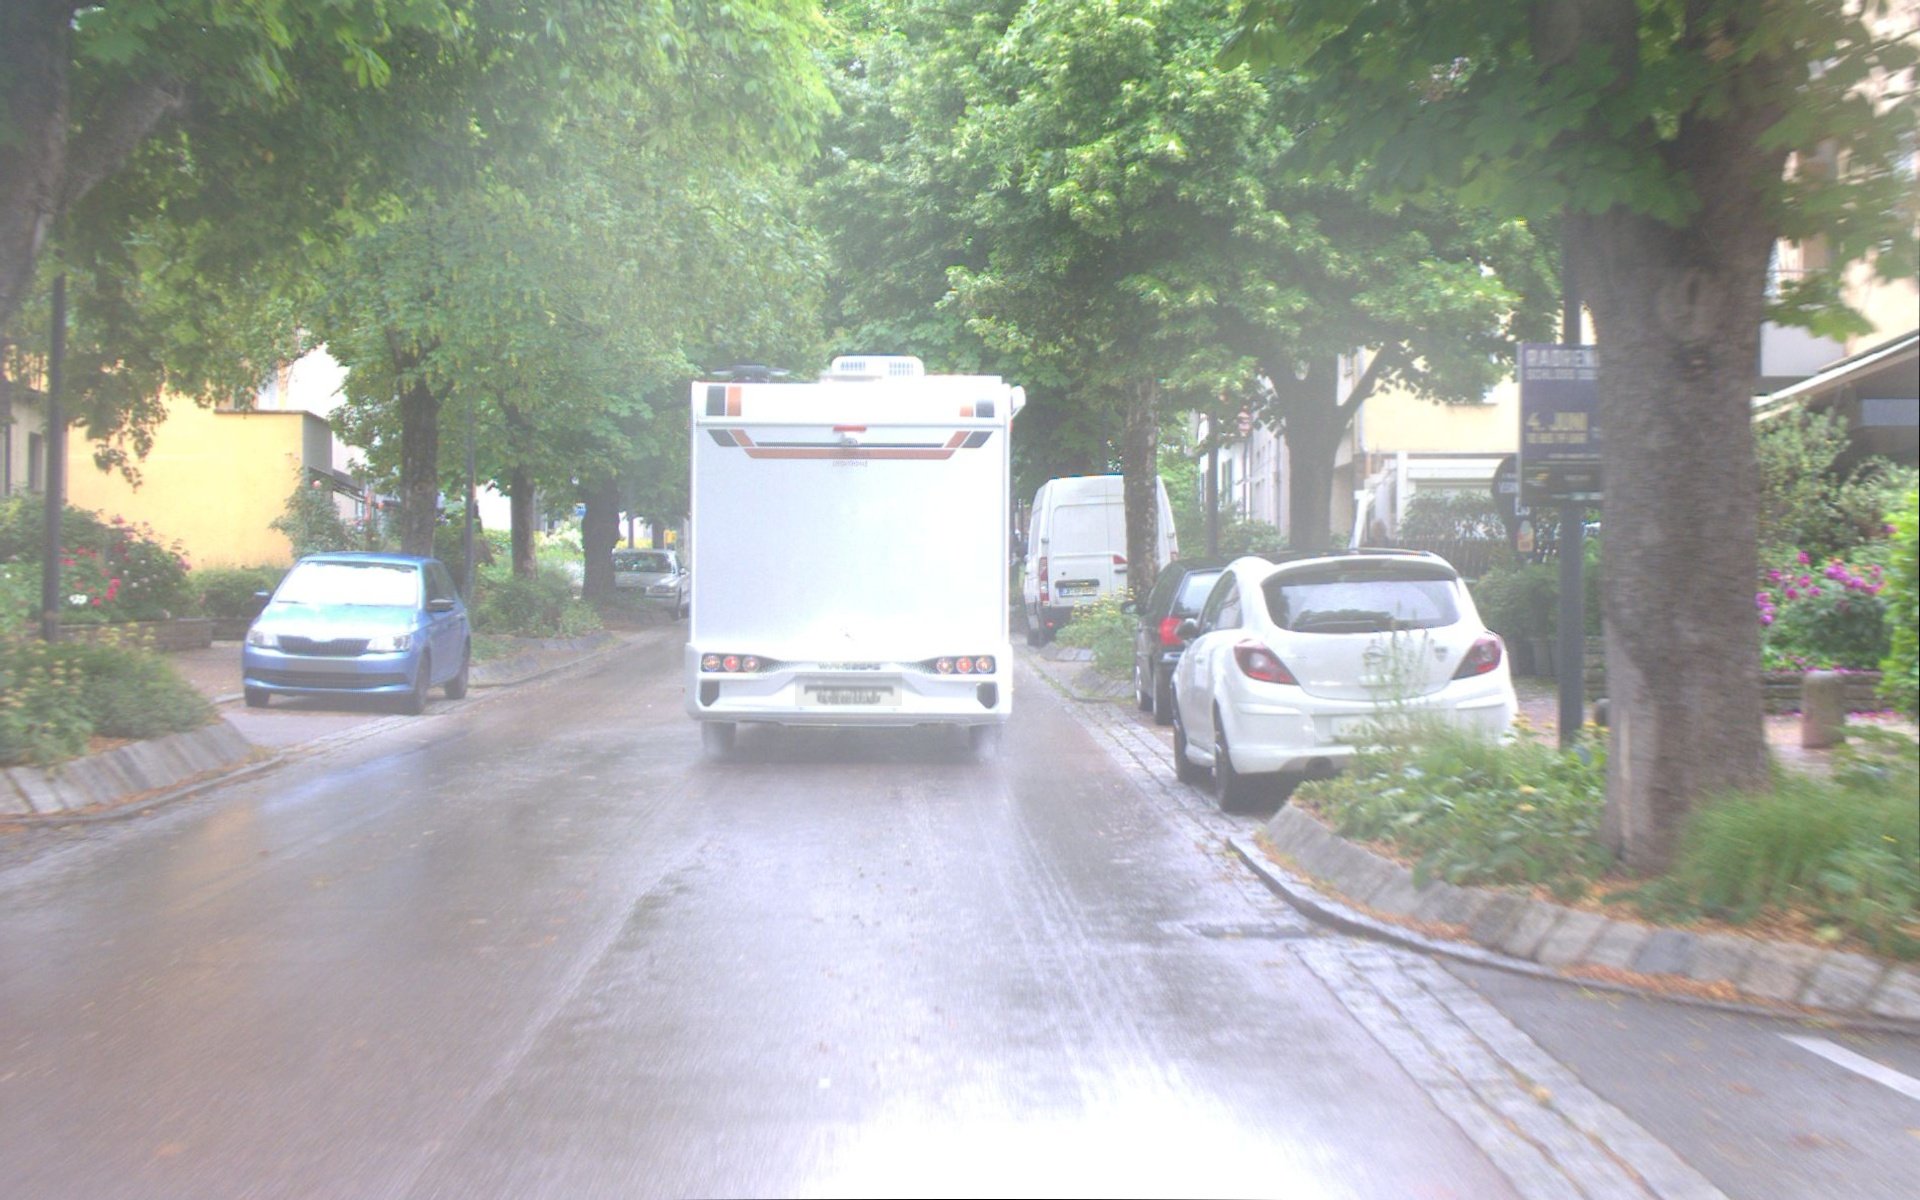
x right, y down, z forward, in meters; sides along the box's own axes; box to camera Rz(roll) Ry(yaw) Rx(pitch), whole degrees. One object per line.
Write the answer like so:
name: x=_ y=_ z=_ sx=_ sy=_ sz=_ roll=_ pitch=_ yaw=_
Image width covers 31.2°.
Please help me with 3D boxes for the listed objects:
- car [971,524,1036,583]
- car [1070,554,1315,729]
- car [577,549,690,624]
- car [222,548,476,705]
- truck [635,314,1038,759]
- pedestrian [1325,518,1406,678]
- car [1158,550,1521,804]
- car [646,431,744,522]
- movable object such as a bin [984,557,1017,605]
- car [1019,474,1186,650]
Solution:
car: x=1.341 y=-1.457 z=107.641 sx=1.914 sy=1.786 sz=4.489 roll=1 pitch=1 yaw=-1
car: x=1.975 y=0.316 z=30.187 sx=1.808 sy=1.406 sz=3.784 roll=1 pitch=1 yaw=-1
car: x=-6.577 y=-0.303 z=69.635 sx=1.772 sy=1.384 sz=4.545 roll=2 pitch=1 yaw=0
car: x=-5.788 y=0.216 z=32.950 sx=1.749 sy=1.391 sz=3.796 roll=1 pitch=1 yaw=0
truck: x=-0.872 y=-0.467 z=26.359 sx=2.694 sy=2.975 sz=6.237 roll=1 pitch=1 yaw=-1
pedestrian: x=4.413 y=-0.022 z=37.434 sx=0.766 sy=1.725 sz=0.492 roll=0 pitch=1 yaw=-6
car: x=2.213 y=0.403 z=20.915 sx=1.680 sy=1.395 sz=3.795 roll=0 pitch=1 yaw=-2
car: x=-6.157 y=-2.860 z=80.195 sx=1.993 sy=2.007 sz=4.000 roll=1 pitch=1 yaw=0
movable object such as a bin: x=0.904 y=-0.438 z=77.630 sx=0.688 sy=1.079 sz=0.541 roll=1 pitch=1 yaw=-4
car: x=2.046 y=-0.567 z=50.955 sx=2.141 sy=2.451 sz=5.435 roll=1 pitch=1 yaw=-1
